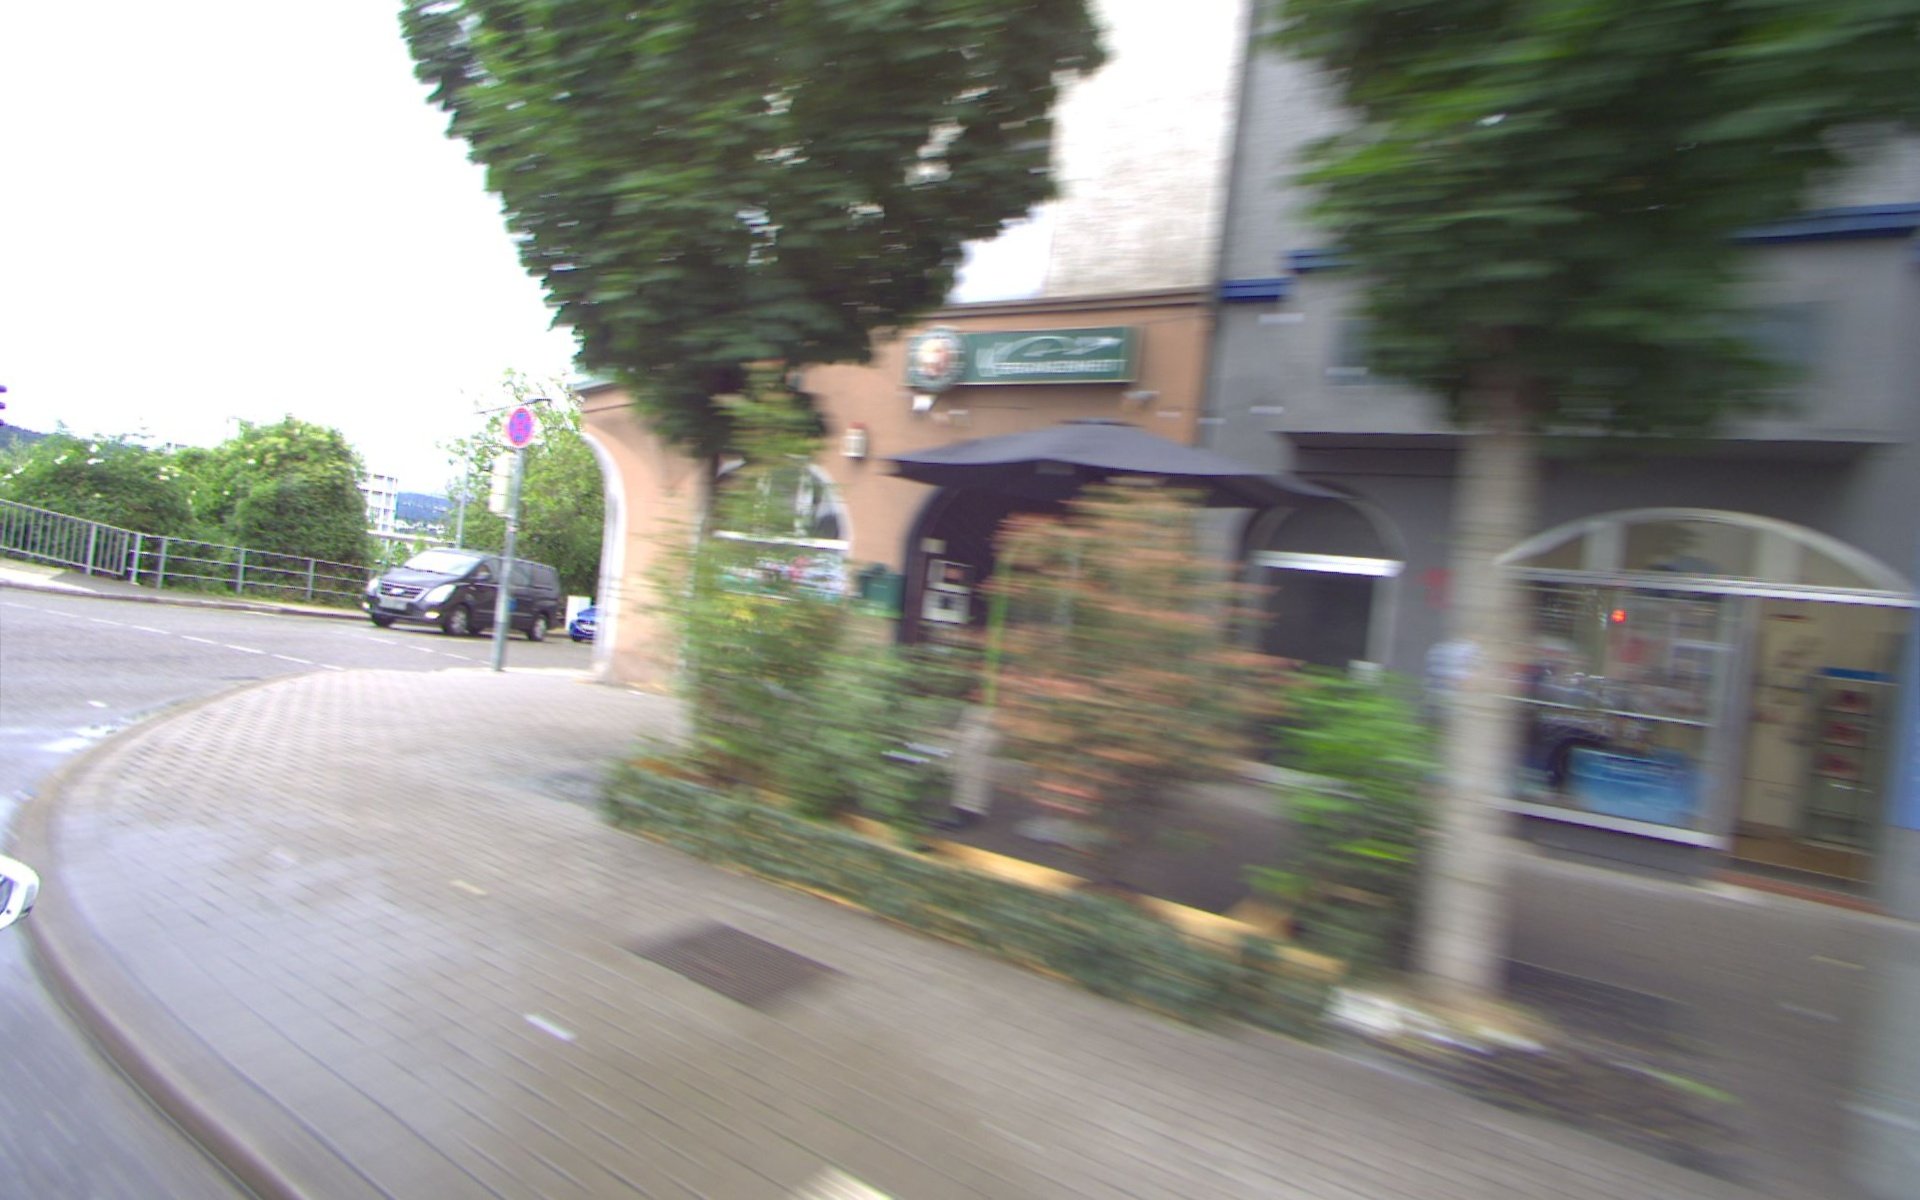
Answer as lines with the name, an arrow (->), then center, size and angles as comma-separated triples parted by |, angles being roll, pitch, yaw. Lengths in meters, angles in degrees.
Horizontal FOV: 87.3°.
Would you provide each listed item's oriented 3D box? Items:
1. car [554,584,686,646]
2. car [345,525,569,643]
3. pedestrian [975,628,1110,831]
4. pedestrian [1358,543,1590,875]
car -> -10.067, 0.521, 30.199 | 1.868, 1.451, 4.349 | 6, -3, 8
car -> -11.215, -0.238, 22.925 | 1.962, 2.036, 4.767 | 7, -3, 9
pedestrian -> 0.553, 0.823, 6.636 | 0.547, 1.204, 0.665 | 6, 0, 30
pedestrian -> 3.579, 0.699, 7.023 | 1.180, 2.039, 0.898 | 6, 1, 31
